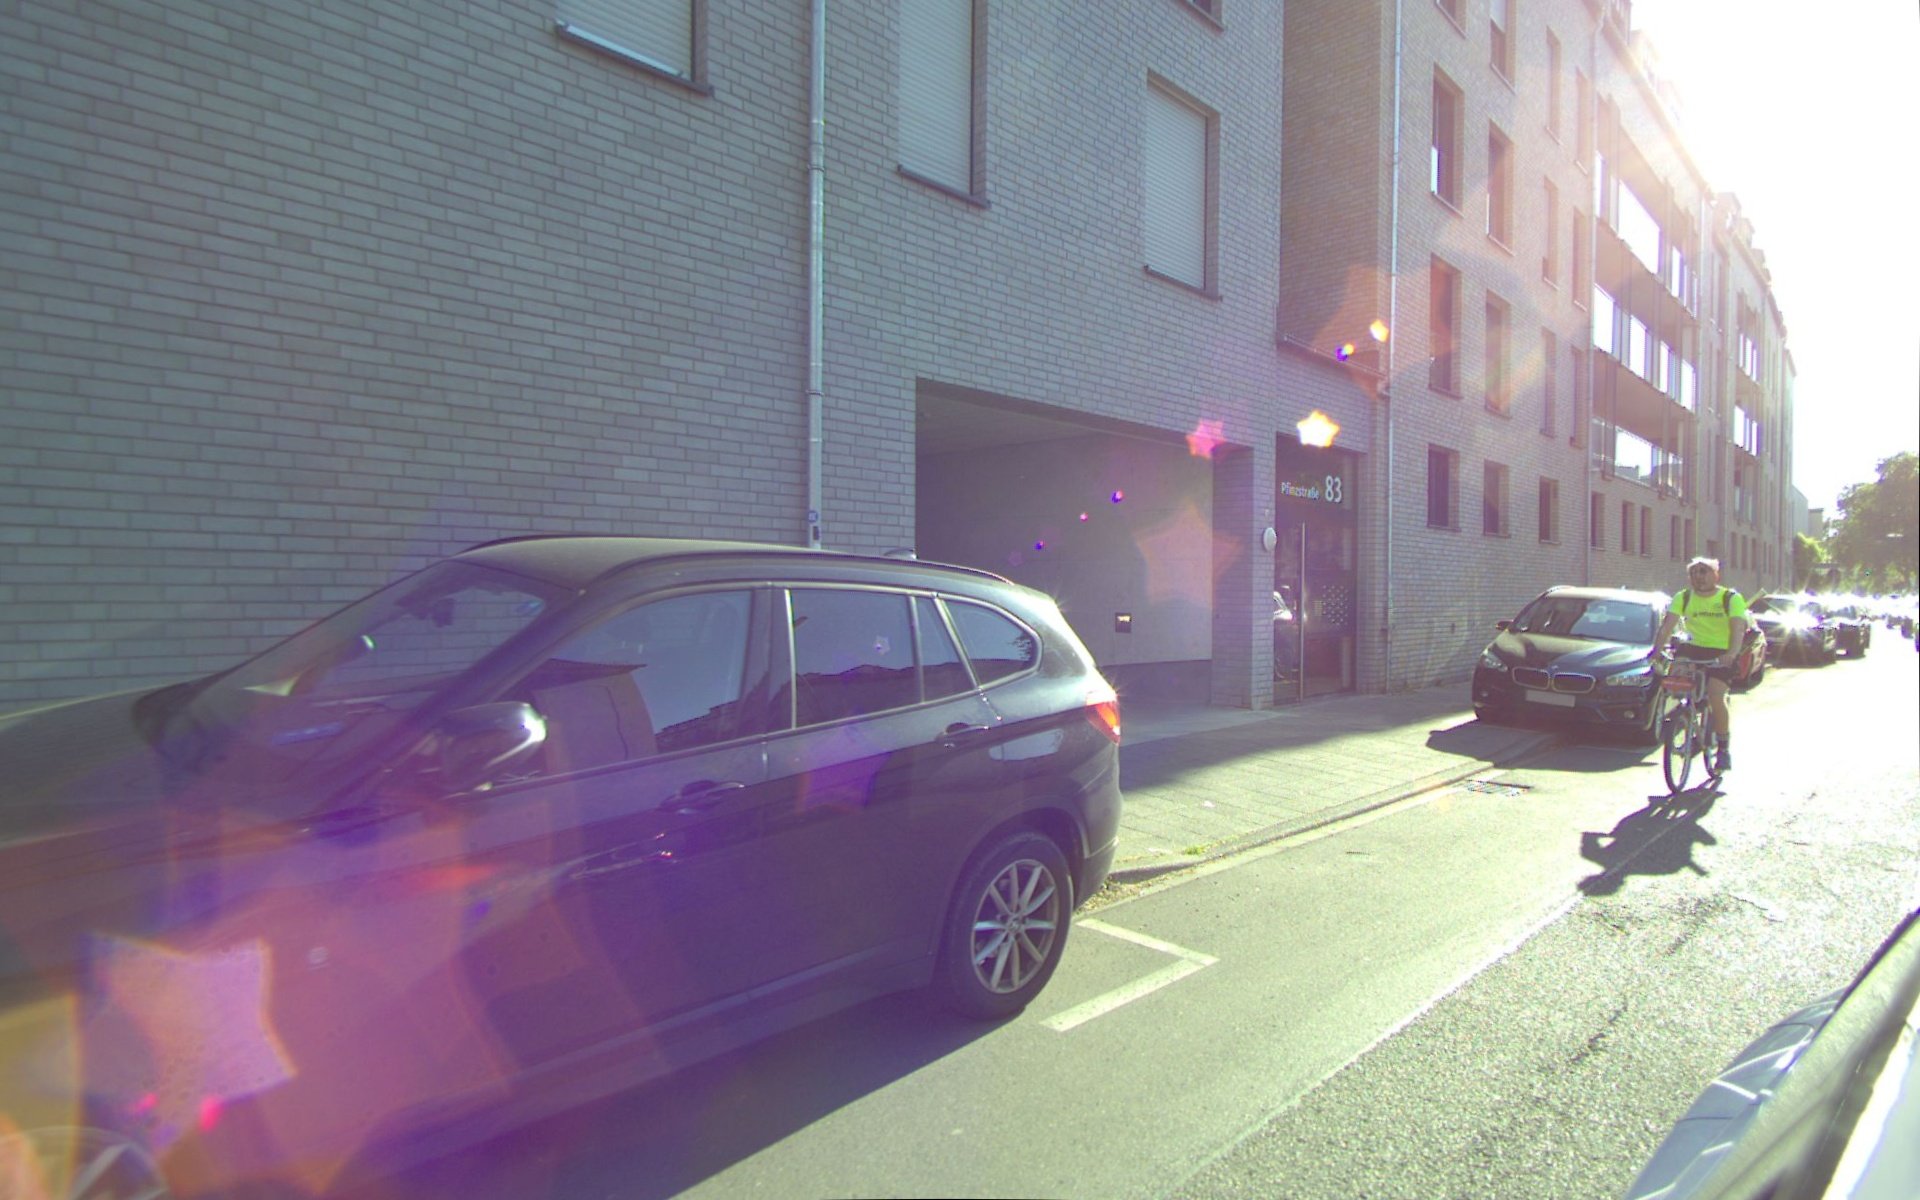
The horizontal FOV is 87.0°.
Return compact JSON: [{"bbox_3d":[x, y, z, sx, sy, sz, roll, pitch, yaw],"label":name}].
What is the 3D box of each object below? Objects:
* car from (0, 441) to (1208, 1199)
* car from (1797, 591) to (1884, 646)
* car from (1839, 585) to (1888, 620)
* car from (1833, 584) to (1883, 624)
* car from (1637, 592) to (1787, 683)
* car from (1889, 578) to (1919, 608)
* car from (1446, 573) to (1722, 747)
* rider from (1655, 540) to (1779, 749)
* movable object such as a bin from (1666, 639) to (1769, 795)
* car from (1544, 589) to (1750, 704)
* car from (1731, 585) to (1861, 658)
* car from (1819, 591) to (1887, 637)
[{"bbox_3d":[-1.272,0.506,3.277,4.547,1.656,1.857,0,4,-44],"label":"car"},{"bbox_3d":[26.583,0.510,30.500,1.816,1.484,4.203,2,2,43],"label":"car"},{"bbox_3d":[46.215,0.100,51.814,1.649,1.611,4.279,4,3,40],"label":"car"},{"bbox_3d":[42.646,0.158,48.077,1.666,1.755,4.766,2,2,42],"label":"car"},{"bbox_3d":[14.499,0.631,19.429,1.714,1.421,4.008,7,5,44],"label":"car"},{"bbox_3d":[49.673,-0.394,52.747,1.816,1.484,4.203,2,2,43],"label":"car"},{"bbox_3d":[7.704,0.576,12.264,1.993,1.674,4.689,2,1,43],"label":"car"},{"bbox_3d":[6.213,0.329,8.293,0.653,1.581,1.066,-3,0,43],"label":"rider"},{"bbox_3d":[6.262,0.899,8.328,0.454,1.046,1.812,-3,0,43],"label":"movable object such as a bin"},{"bbox_3d":[11.001,0.630,16.082,1.994,1.524,4.297,2,1,44],"label":"car"},{"bbox_3d":[22.089,0.526,26.670,4.690,1.733,1.893,1,1,-41],"label":"car"},{"bbox_3d":[32.180,0.454,36.550,1.695,1.485,4.651,3,3,40],"label":"car"}]
